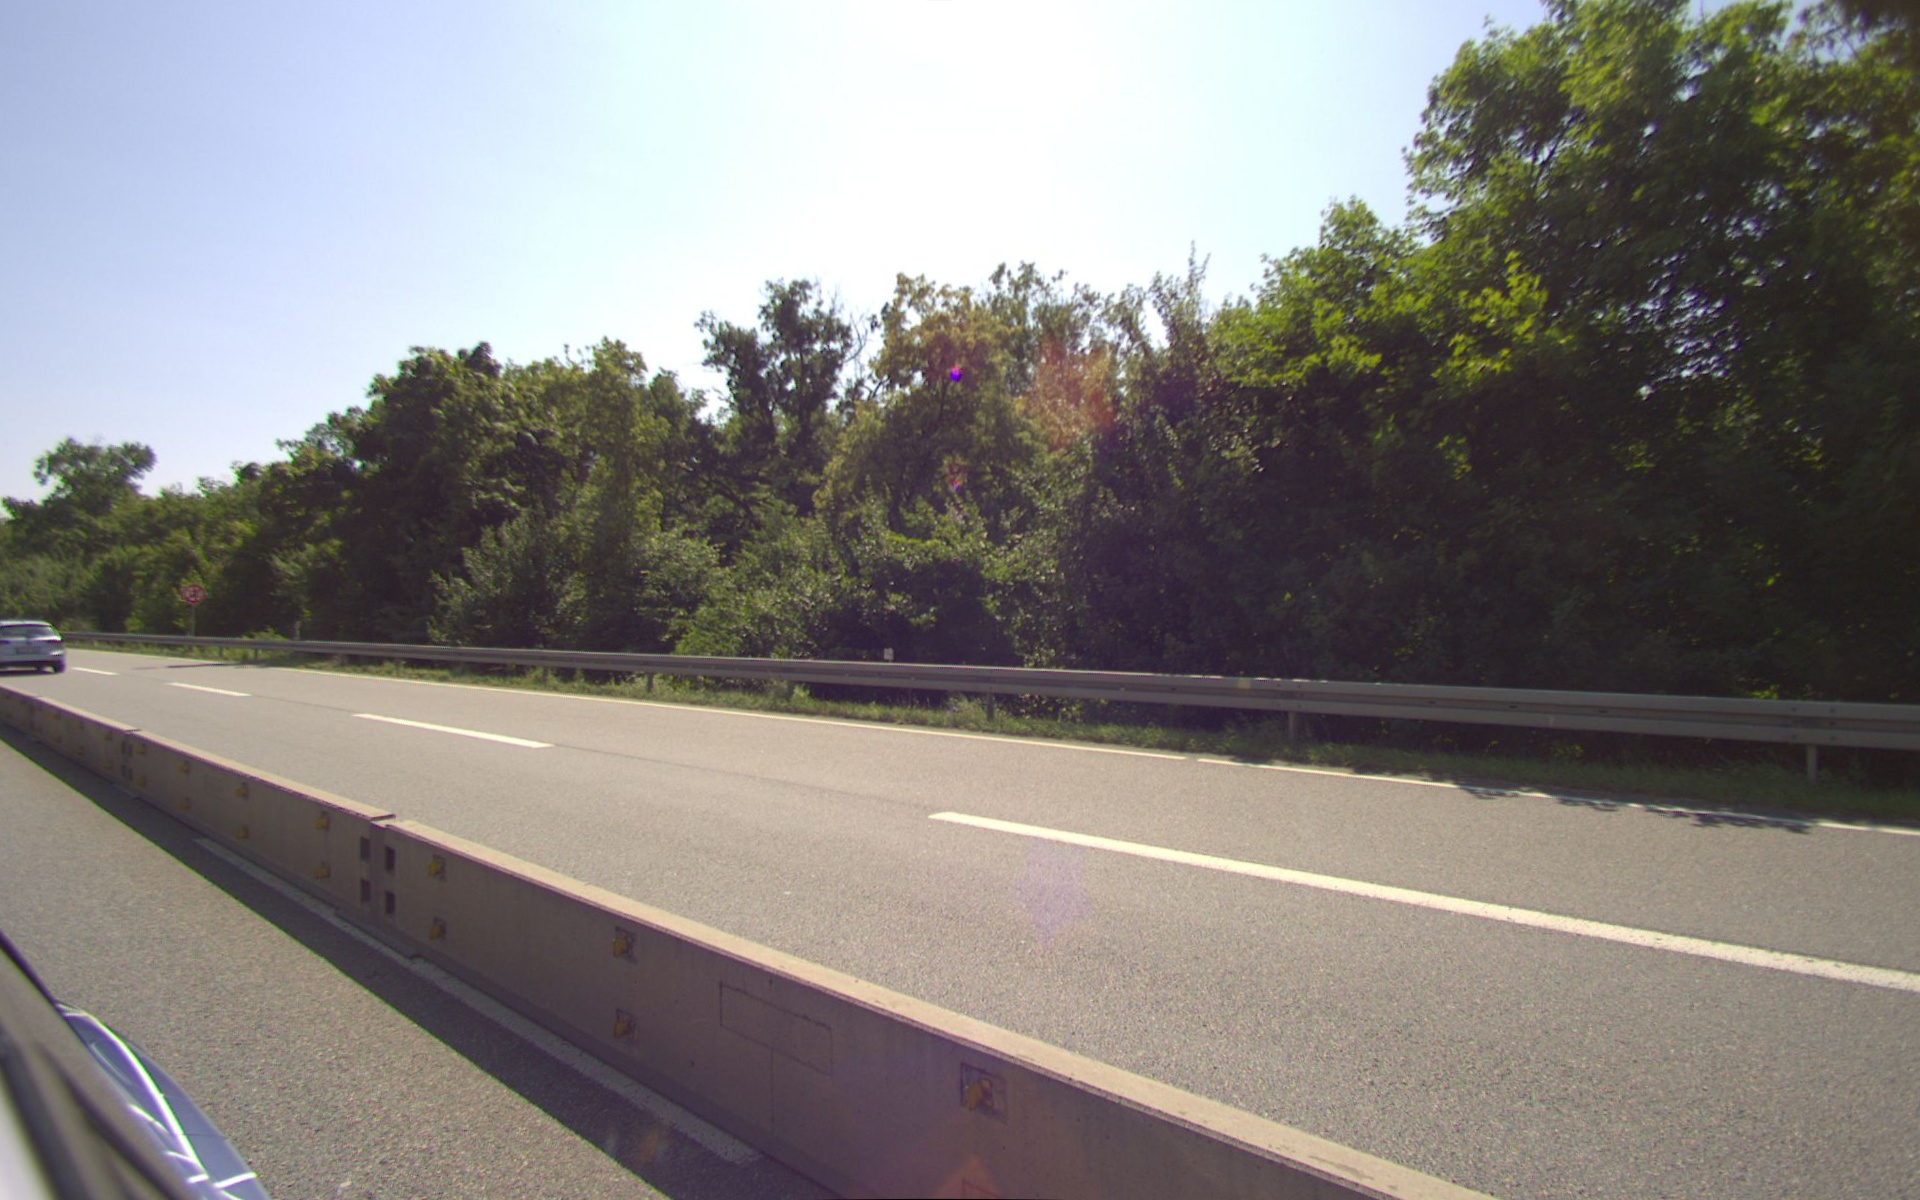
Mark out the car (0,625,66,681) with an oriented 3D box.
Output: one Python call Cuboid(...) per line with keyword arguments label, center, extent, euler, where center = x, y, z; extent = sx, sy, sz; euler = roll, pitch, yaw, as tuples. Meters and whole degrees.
Cuboid(label="car", center=(-26.566, 1.438, 28.167), extent=(4.350, 1.432, 1.929), euler=(-1, -1, 40))
